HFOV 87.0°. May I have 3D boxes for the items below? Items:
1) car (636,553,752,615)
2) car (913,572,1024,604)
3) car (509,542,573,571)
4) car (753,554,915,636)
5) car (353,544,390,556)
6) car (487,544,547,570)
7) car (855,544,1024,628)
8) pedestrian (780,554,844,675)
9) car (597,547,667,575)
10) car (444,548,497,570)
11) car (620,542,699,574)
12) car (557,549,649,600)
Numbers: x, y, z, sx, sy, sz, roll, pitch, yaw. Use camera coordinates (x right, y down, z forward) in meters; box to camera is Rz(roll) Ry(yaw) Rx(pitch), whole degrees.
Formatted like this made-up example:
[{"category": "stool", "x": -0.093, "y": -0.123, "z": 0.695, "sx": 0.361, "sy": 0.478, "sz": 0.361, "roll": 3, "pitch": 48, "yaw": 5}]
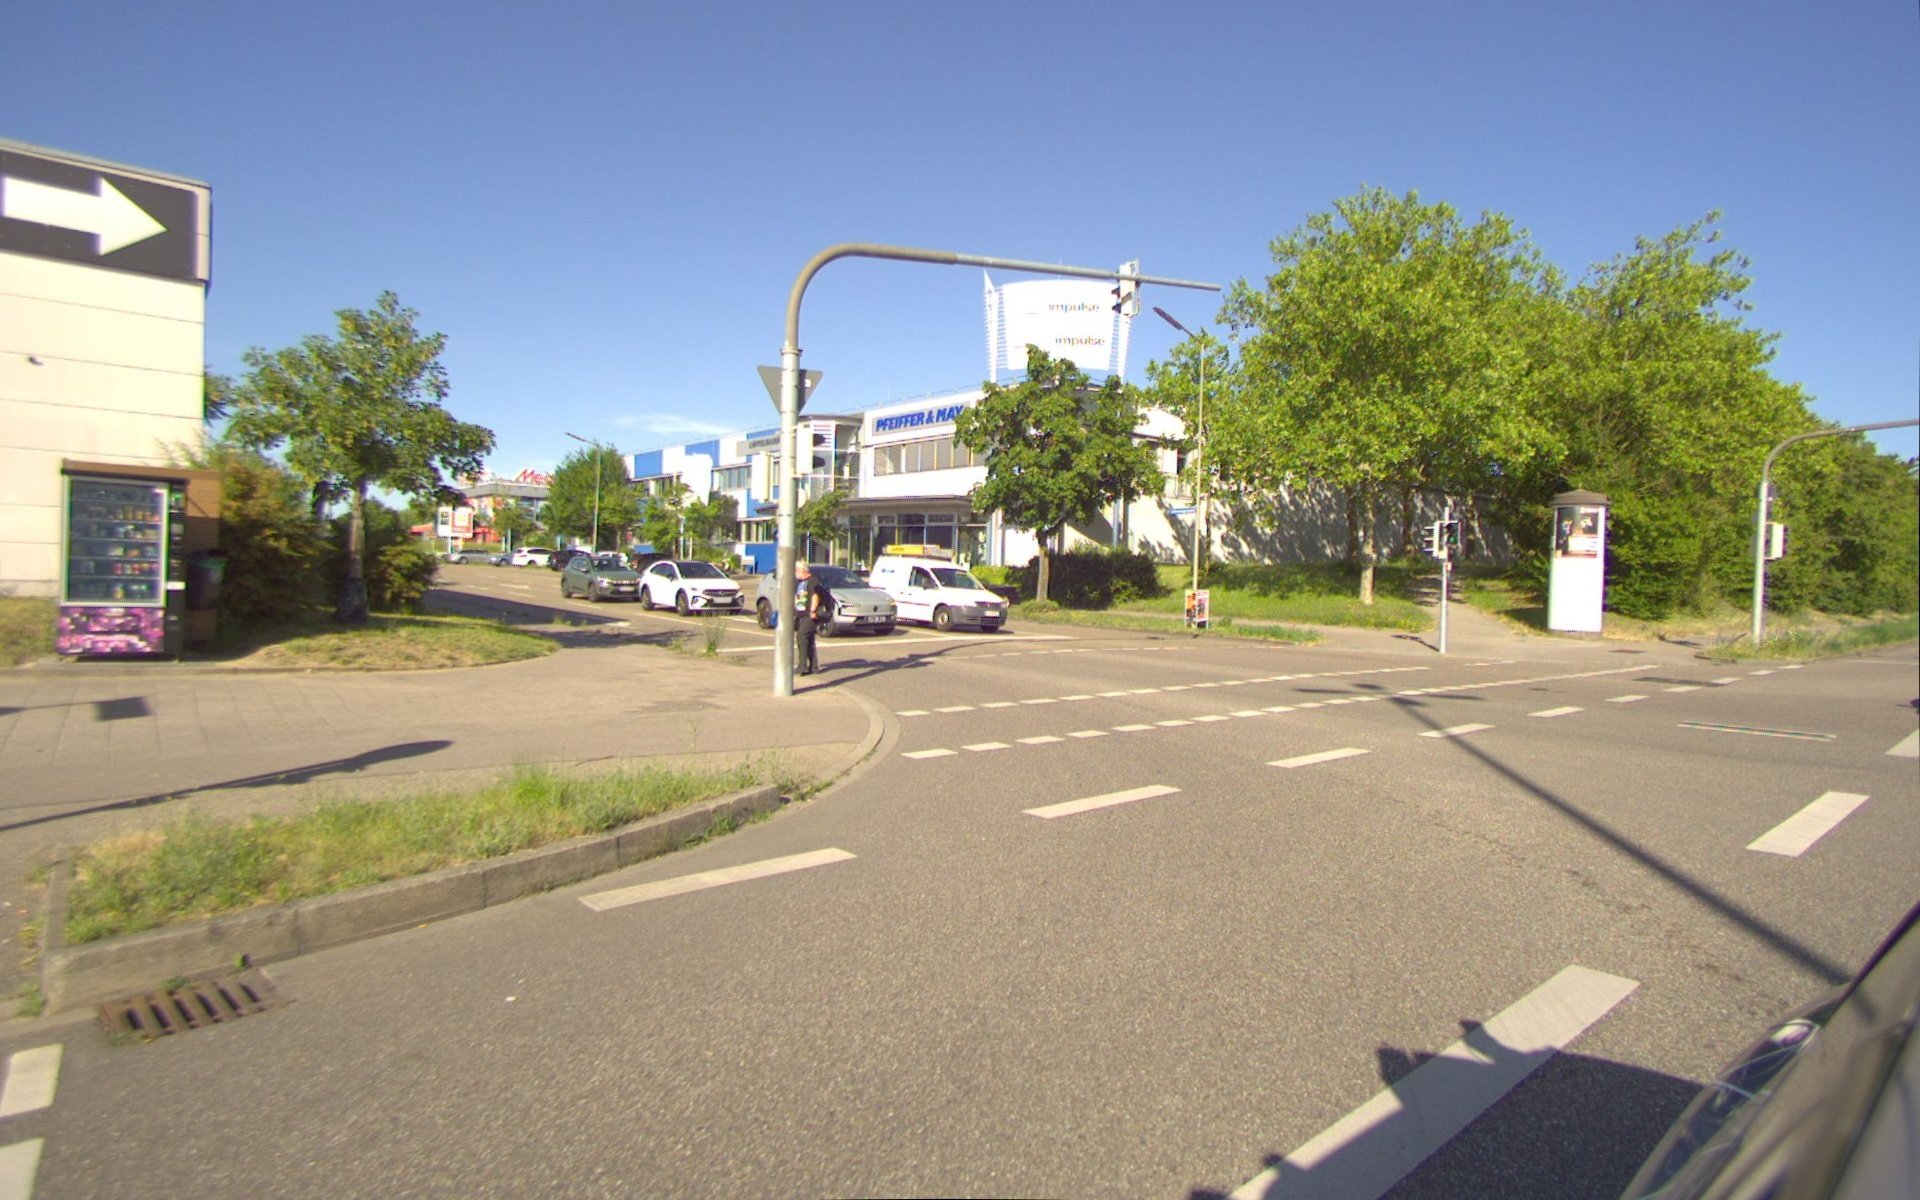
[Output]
[{"category": "car", "x": -7.725, "y": -0.527, "z": 29.137, "sx": 1.776, "sy": 1.608, "sz": 3.928, "roll": -2, "pitch": 4, "yaw": -39}, {"category": "car", "x": 0.373, "y": -0.470, "z": 39.003, "sx": 4.287, "sy": 1.137, "sz": 1.719, "roll": 0, "pitch": 2, "yaw": -42}, {"category": "car", "x": -32.638, "y": -3.381, "z": 78.930, "sx": 4.286, "sy": 2.044, "sz": 1.720, "roll": 0, "pitch": 2, "yaw": -41}, {"category": "car", "x": -3.012, "y": -0.197, "z": 23.566, "sx": 1.868, "sy": 1.665, "sz": 4.101, "roll": -2, "pitch": 4, "yaw": -39}, {"category": "car", "x": -76.322, "y": -6.484, "z": 131.260, "sx": 3.927, "sy": 1.381, "sz": 1.780, "roll": 0, "pitch": 0, "yaw": -38}, {"category": "car", "x": -36.803, "y": -3.568, "z": 84.182, "sx": 4.286, "sy": 2.008, "sz": 1.720, "roll": 0, "pitch": 2, "yaw": -41}, {"category": "car", "x": -0.623, "y": -0.394, "z": 25.996, "sx": 1.839, "sy": 1.958, "sz": 4.692, "roll": 0, "pitch": 2, "yaw": -39}, {"category": "pedestrian", "x": -2.207, "y": 0.189, "z": 15.044, "sx": 0.607, "sy": 1.737, "sz": 0.759, "roll": 0, "pitch": 2, "yaw": -40}, {"category": "car", "x": -22.796, "y": -2.701, "z": 70.379, "sx": 4.286, "sy": 1.858, "sz": 1.720, "roll": 0, "pitch": 2, "yaw": -41}, {"category": "car", "x": -45.349, "y": -3.788, "z": 93.805, "sx": 4.078, "sy": 1.874, "sz": 1.720, "roll": 0, "pitch": 2, "yaw": -41}, {"category": "car", "x": -18.346, "y": -2.538, "z": 61.920, "sx": 4.286, "sy": 1.859, "sz": 1.720, "roll": 0, "pitch": 2, "yaw": -41}, {"category": "car", "x": -12.247, "y": -0.906, "z": 34.608, "sx": 1.776, "sy": 1.608, "sz": 3.928, "roll": -2, "pitch": 4, "yaw": -39}]
